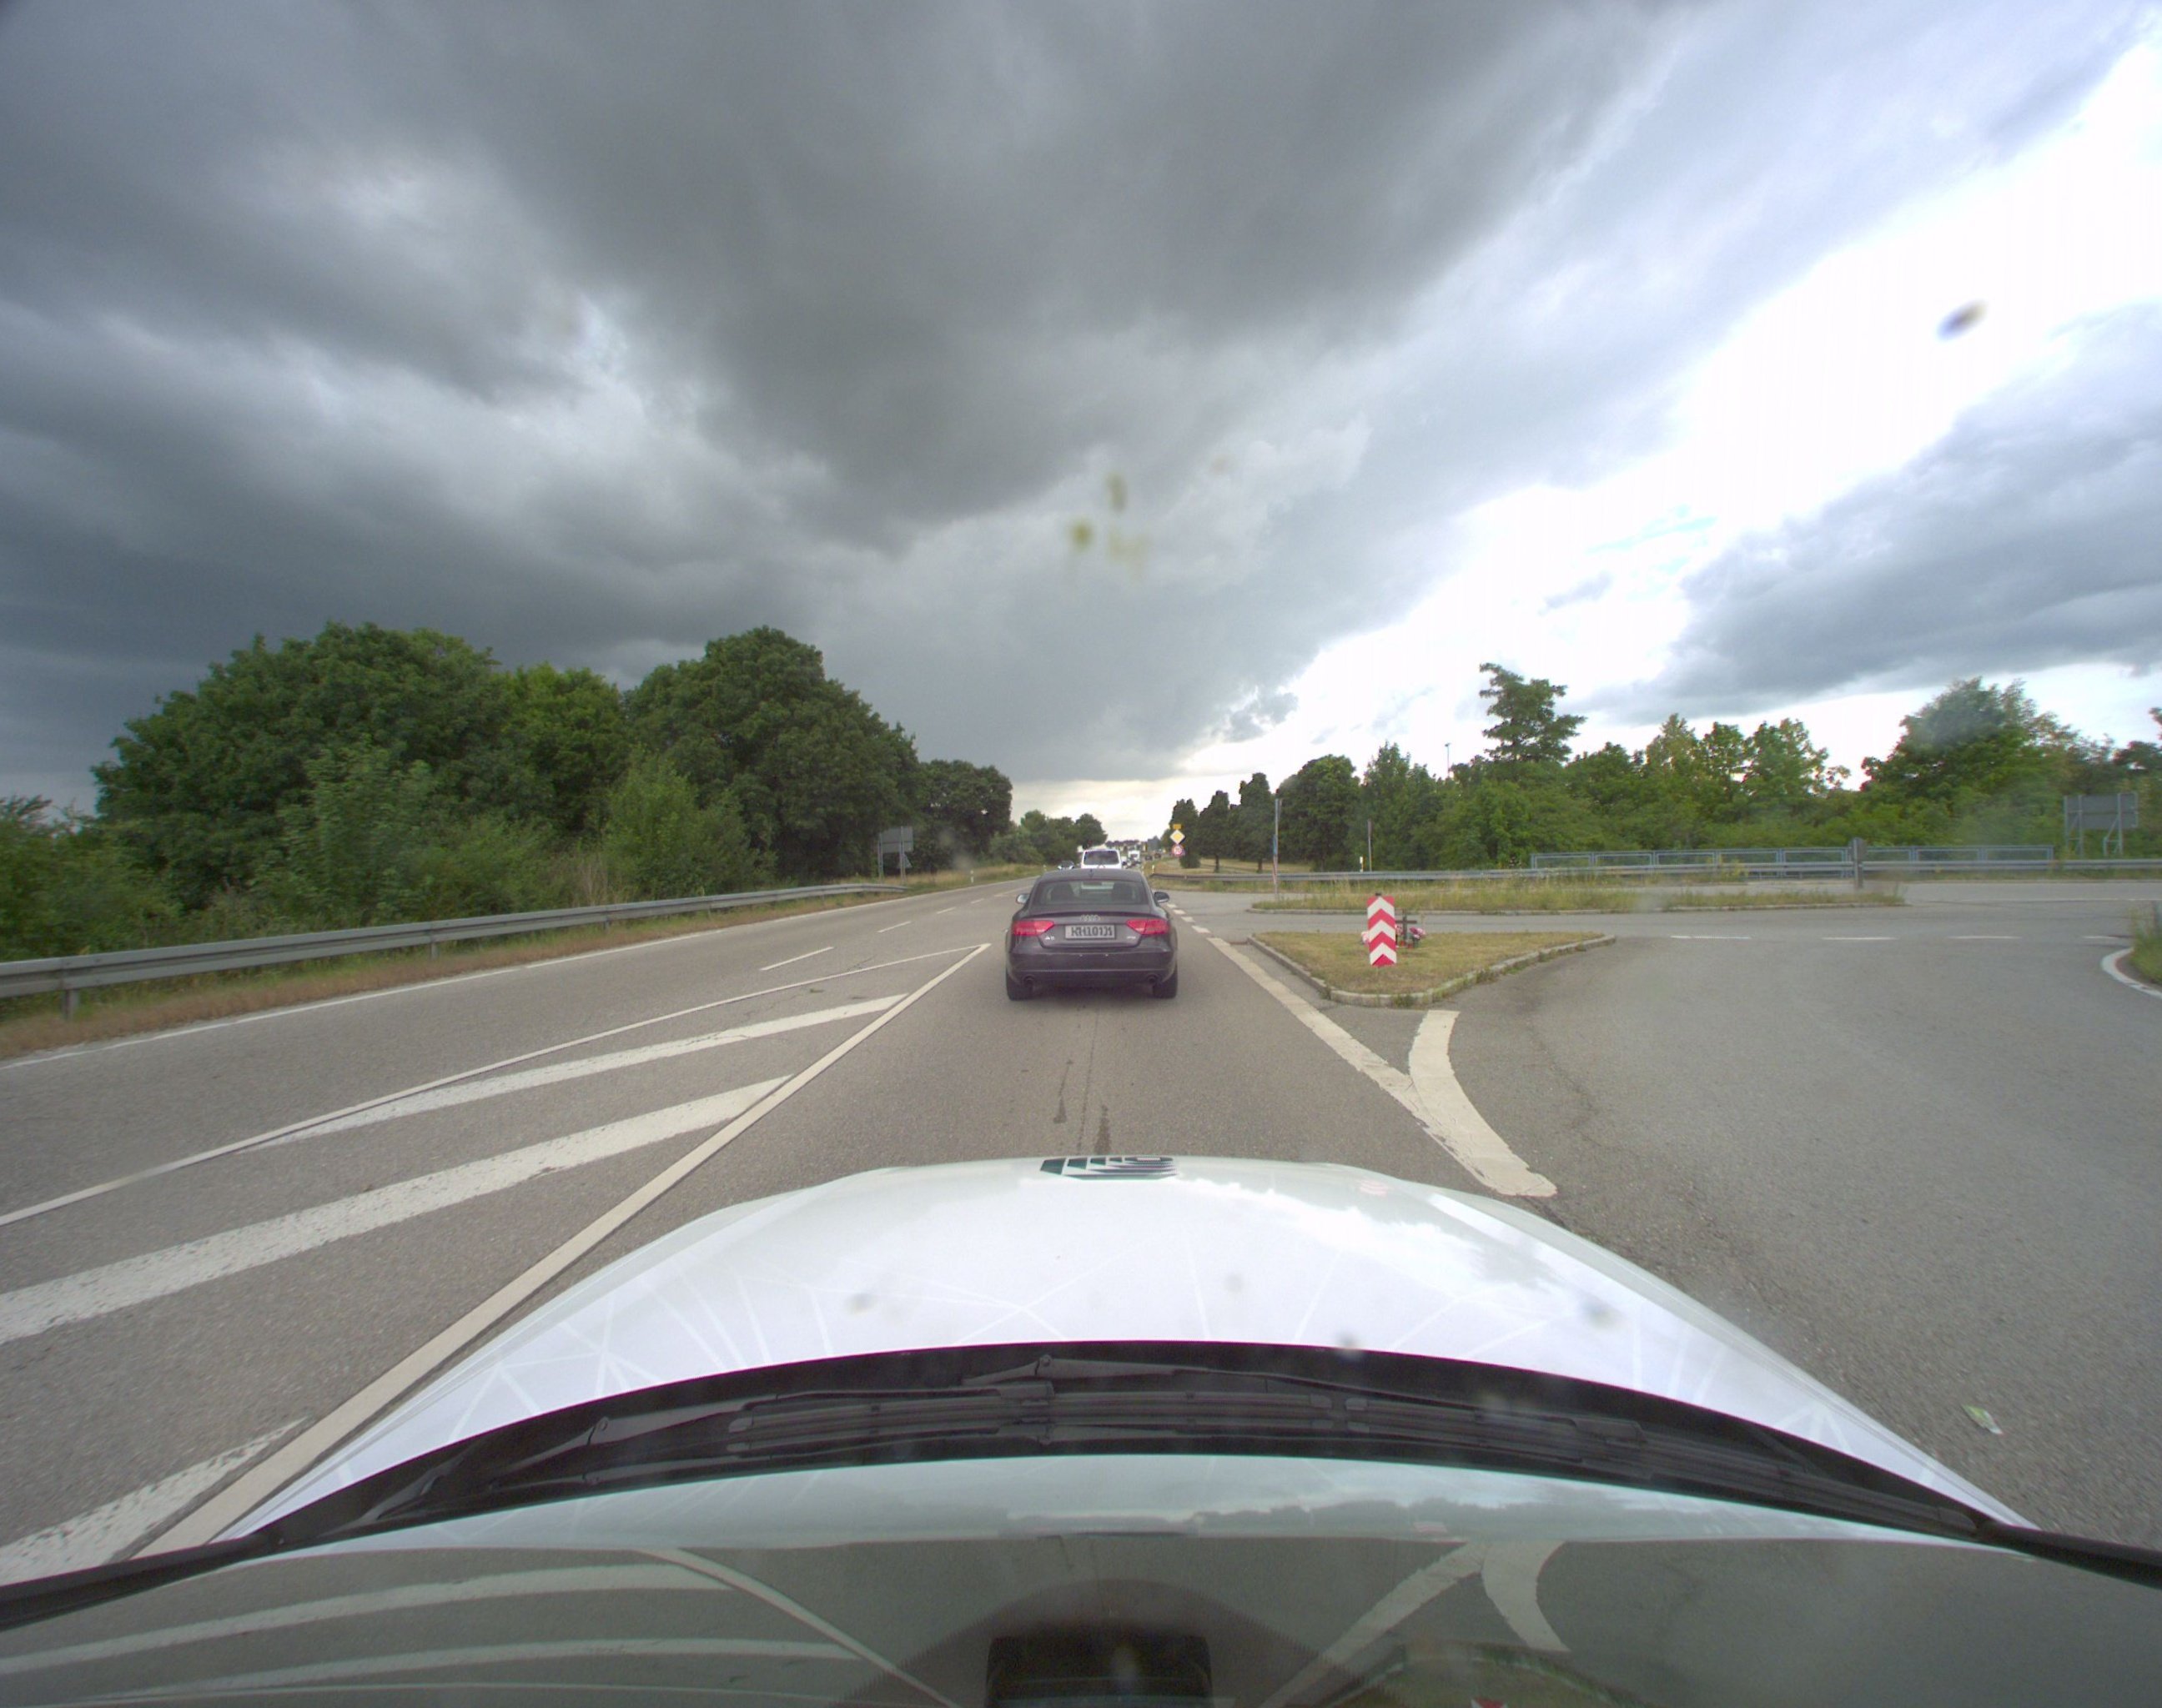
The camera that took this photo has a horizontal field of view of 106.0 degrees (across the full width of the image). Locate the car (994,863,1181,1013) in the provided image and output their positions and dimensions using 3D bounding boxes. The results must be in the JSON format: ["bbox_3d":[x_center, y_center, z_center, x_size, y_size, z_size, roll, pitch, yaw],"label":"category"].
[{"bbox_3d":[0.123,0.823,9.786,1.776,1.376,4.002,-1,0,2],"label":"car"}]

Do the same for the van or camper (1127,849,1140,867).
[{"bbox_3d":[10.610,0.819,164.216,2.330,3.481,5.724,-1,-1,4],"label":"van or camper"}]

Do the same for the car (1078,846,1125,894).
[{"bbox_3d":[0.875,0.649,34.459,1.832,1.882,4.002,-1,0,2],"label":"car"}]

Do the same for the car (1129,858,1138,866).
[{"bbox_3d":[9.450,1.359,145.944,1.251,1.353,3.473,-2,-1,8],"label":"car"}]

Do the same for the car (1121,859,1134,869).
[{"bbox_3d":[7.565,1.597,132.402,1.726,1.514,3.754,-2,-1,8],"label":"car"}]

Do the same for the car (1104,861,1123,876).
[{"bbox_3d":[3.484,1.545,86.514,1.787,1.464,3.253,-1,-1,5],"label":"car"}]

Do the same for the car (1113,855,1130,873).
[{"bbox_3d":[5.066,1.229,102.089,1.984,2.088,4.005,-1,-1,5],"label":"car"}]

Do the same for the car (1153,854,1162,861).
[{"bbox_3d":[21.517,1.072,229.261,1.986,2.014,4.001,-1,0,1],"label":"car"}]

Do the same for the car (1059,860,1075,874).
[{"bbox_3d":[-1.665,1.553,96.880,1.704,1.523,4.002,-1,0,2],"label":"car"}]

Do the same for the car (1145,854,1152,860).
[{"bbox_3d":[16.827,0.862,202.670,1.712,1.451,4.003,0,0,3],"label":"car"}]
